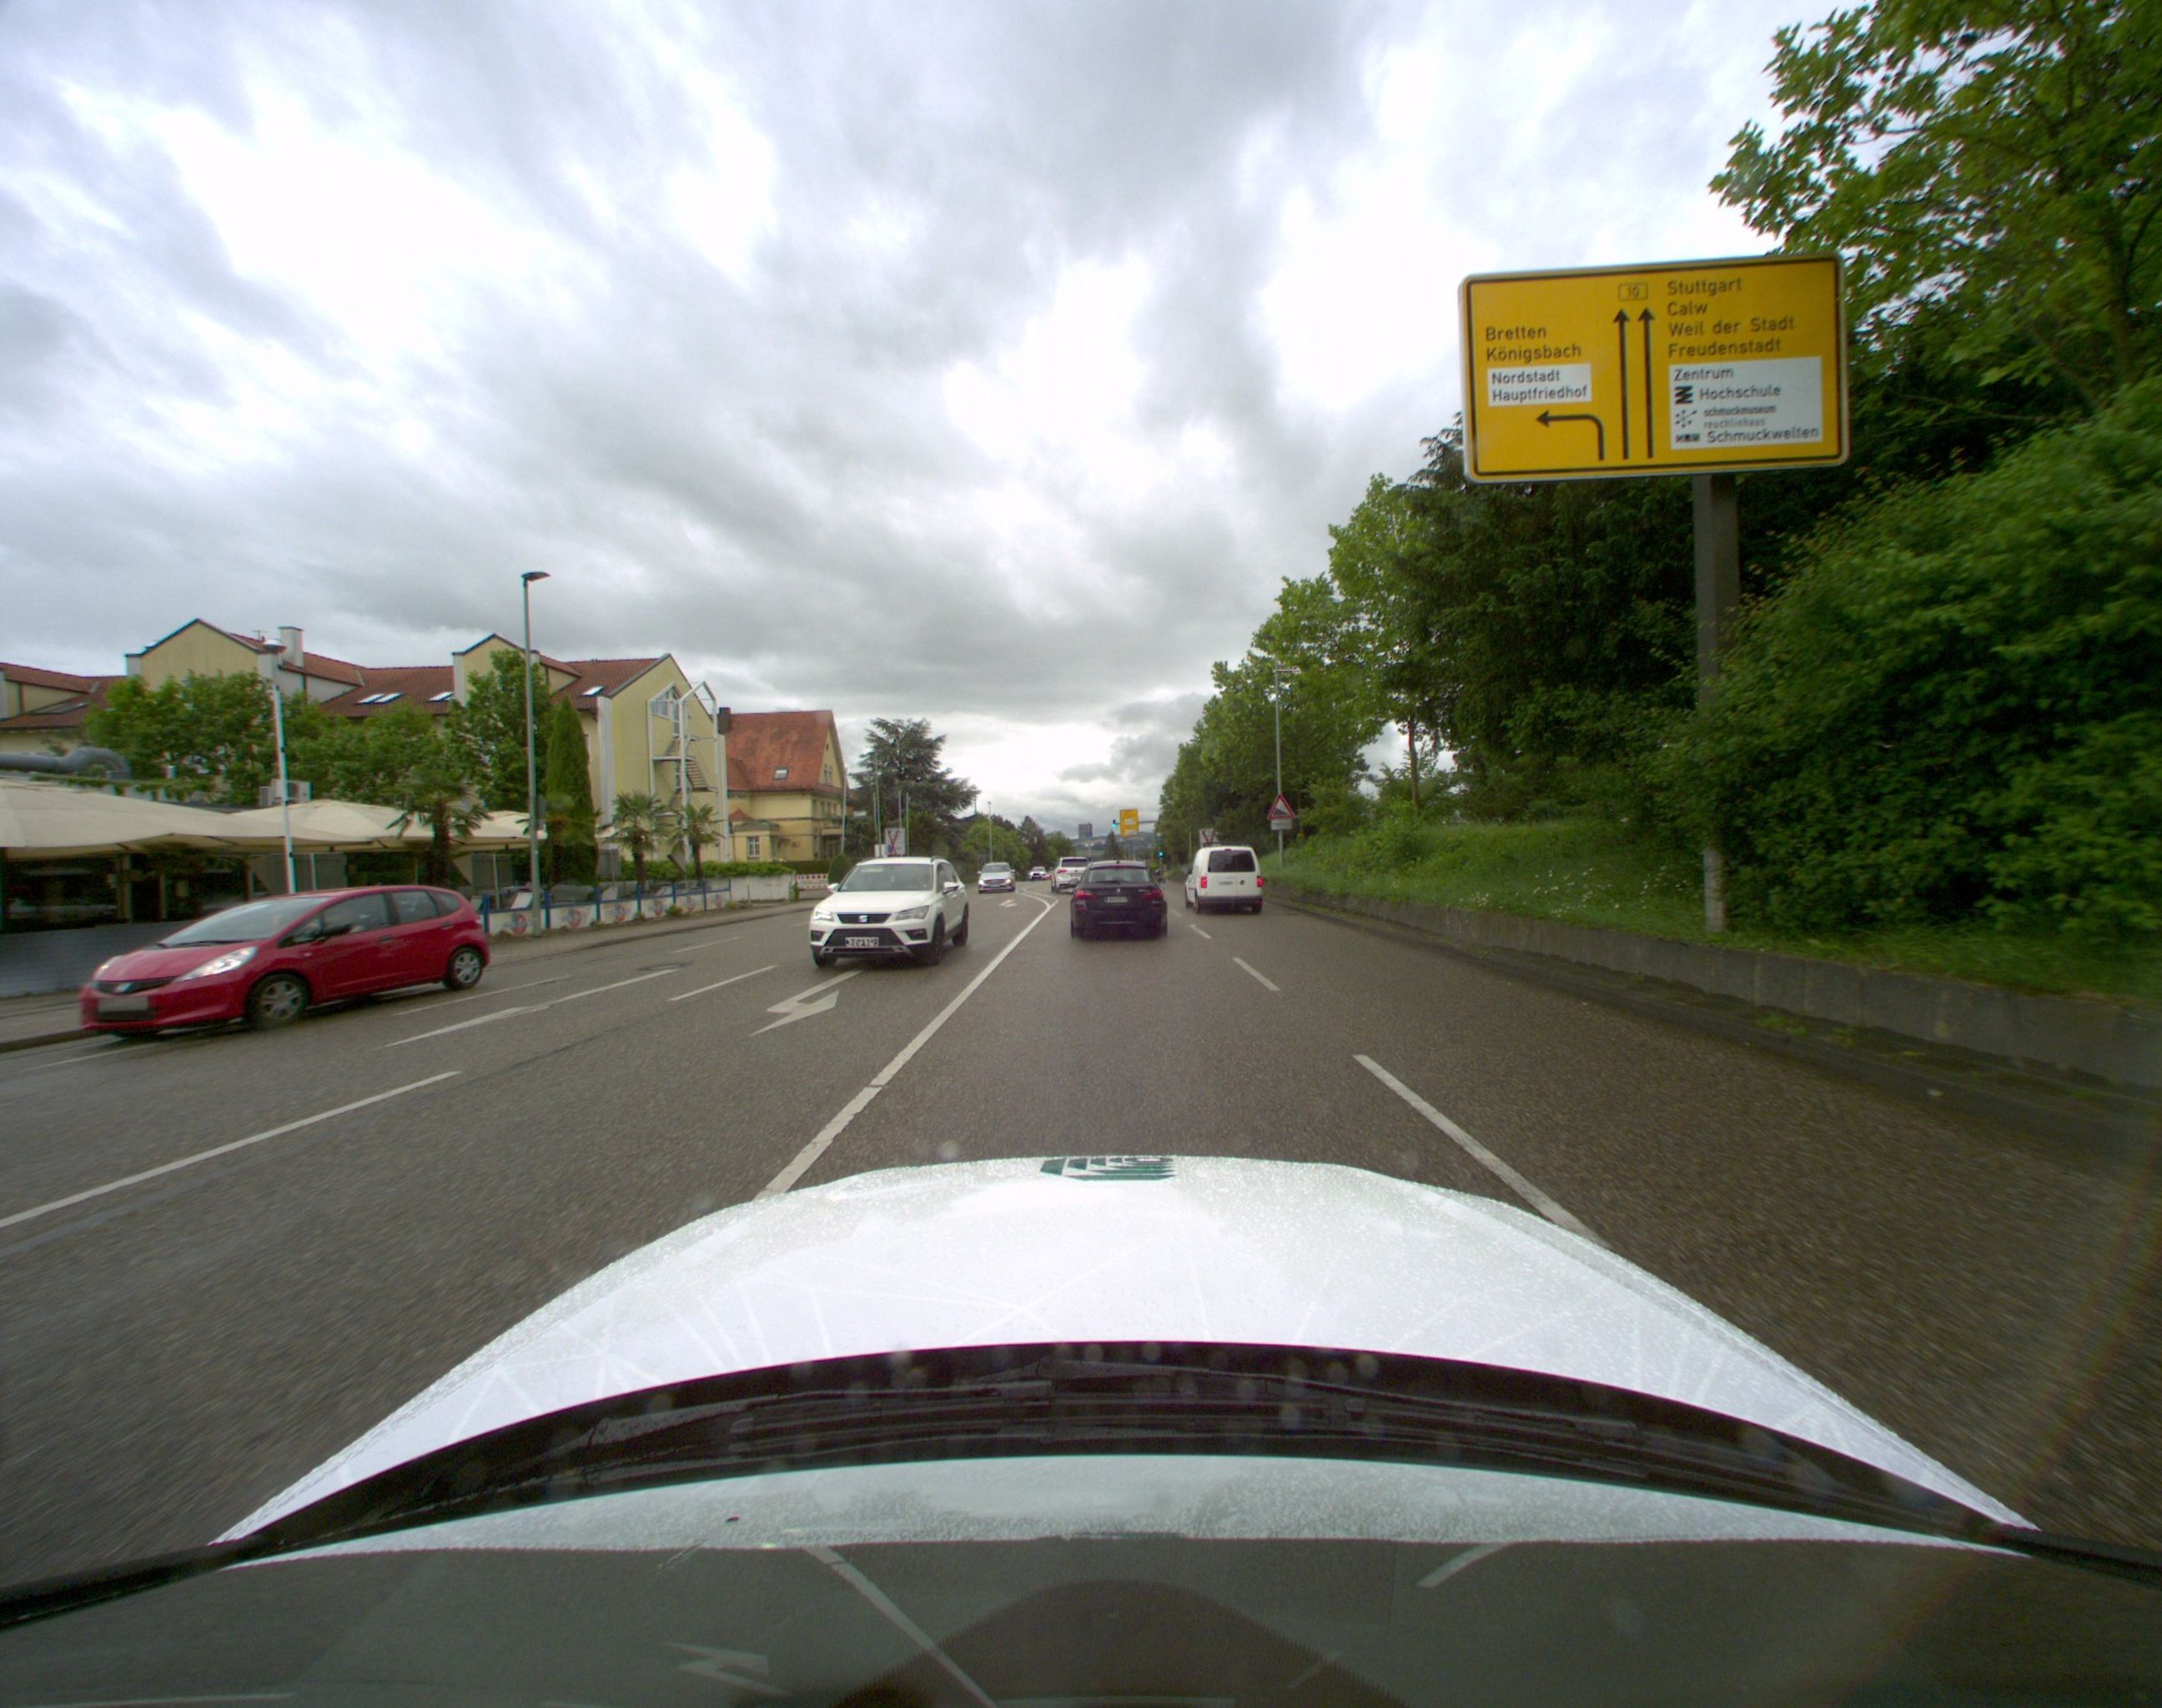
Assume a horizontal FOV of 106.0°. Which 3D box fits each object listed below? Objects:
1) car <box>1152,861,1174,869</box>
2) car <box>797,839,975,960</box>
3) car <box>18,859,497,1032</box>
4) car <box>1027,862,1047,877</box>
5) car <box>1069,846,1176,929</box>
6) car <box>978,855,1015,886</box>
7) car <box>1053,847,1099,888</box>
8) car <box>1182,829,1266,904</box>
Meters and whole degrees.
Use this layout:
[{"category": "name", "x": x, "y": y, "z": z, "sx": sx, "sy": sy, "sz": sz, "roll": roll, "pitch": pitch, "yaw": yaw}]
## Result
[{"category": "car", "x": 15.096, "y": 2.037, "z": 150.024, "sx": 3.967, "sy": 1.376, "sz": 1.588, "roll": -1, "pitch": -1, "yaw": 6}, {"category": "car", "x": -2.931, "y": 0.620, "z": 13.213, "sx": 1.781, "sy": 1.581, "sz": 4.239, "roll": -2, "pitch": 0, "yaw": 0}, {"category": "car", "x": -9.464, "y": 0.907, "z": 9.935, "sx": 1.631, "sy": 1.533, "sz": 3.973, "roll": -4, "pitch": 0, "yaw": 2}, {"category": "car", "x": -5.654, "y": 1.934, "z": 105.416, "sx": 1.909, "sy": 1.763, "sz": 5.146, "roll": -4, "pitch": -1, "yaw": 3}, {"category": "car", "x": 0.836, "y": 0.612, "z": 16.585, "sx": 1.891, "sy": 1.441, "sz": 4.003, "roll": -1, "pitch": 0, "yaw": 3}, {"category": "car", "x": -4.408, "y": 0.835, "z": 43.090, "sx": 1.746, "sy": 1.508, "sz": 4.296, "roll": -2, "pitch": 0, "yaw": -4}, {"category": "car", "x": -0.184, "y": 0.576, "z": 37.780, "sx": 1.861, "sy": 1.673, "sz": 4.003, "roll": -1, "pitch": 2, "yaw": 3}, {"category": "car", "x": 3.916, "y": 0.272, "z": 22.801, "sx": 1.758, "sy": 1.877, "sz": 3.807, "roll": -1, "pitch": 2, "yaw": 1}]
